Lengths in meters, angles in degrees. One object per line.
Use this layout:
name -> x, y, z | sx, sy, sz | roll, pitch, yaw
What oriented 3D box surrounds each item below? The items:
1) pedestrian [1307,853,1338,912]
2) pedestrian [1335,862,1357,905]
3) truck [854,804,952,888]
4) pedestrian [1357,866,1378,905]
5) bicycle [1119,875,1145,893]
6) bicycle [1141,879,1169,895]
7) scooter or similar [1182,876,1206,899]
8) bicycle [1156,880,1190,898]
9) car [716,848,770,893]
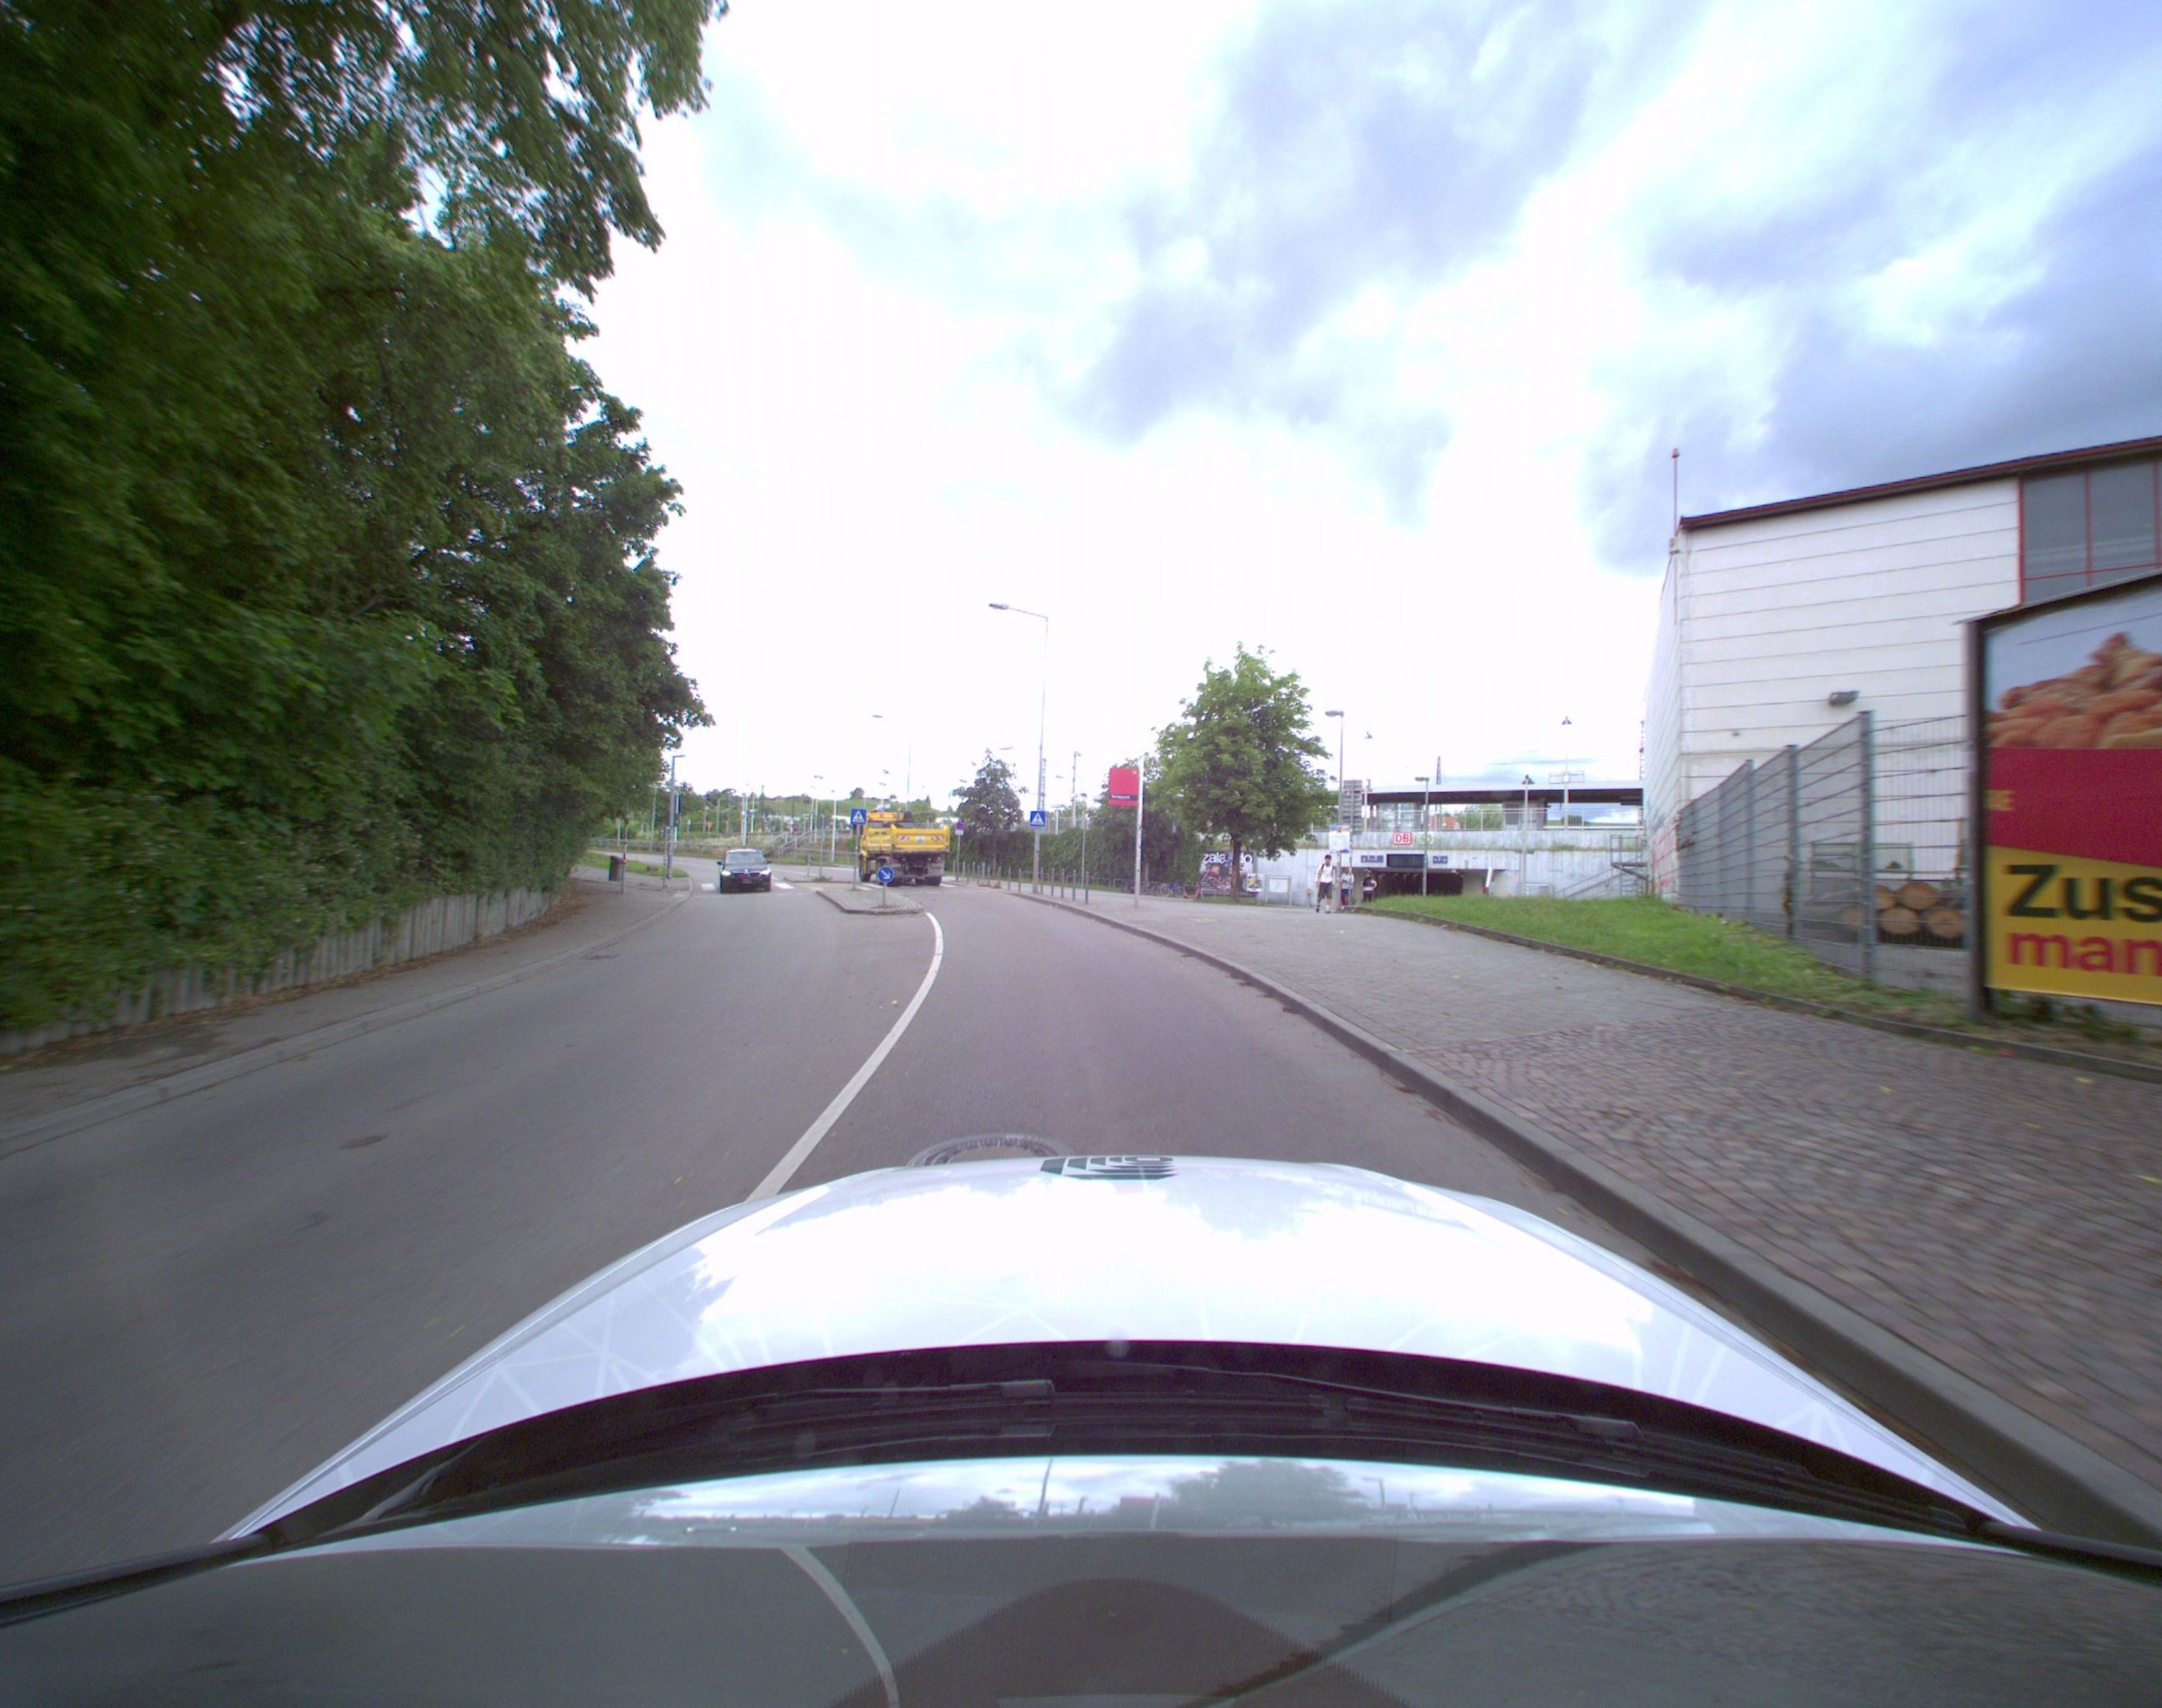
pedestrian -> 7.031, 0.831, 23.754 | 0.842, 1.684, 0.944 | 0, -3, 15
pedestrian -> 10.809, 1.198, 33.185 | 0.807, 1.703, 0.752 | 1, -3, 19
truck -> -8.621, -0.440, 38.582 | 2.778, 3.483, 8.064 | 2, 1, -25
pedestrian -> 11.911, 1.311, 33.893 | 0.793, 1.584, 0.805 | 1, -3, 19
bicycle -> 3.097, 1.824, 49.604 | 1.484, 0.989, 0.693 | 4, -1, -3
bicycle -> 4.460, 2.011, 49.223 | 1.579, 0.854, 0.461 | 5, -2, -18
scooter or similar -> 6.540, 1.937, 47.203 | 1.190, 1.206, 0.465 | 5, -2, -18
bicycle -> 5.477, 2.092, 48.377 | 1.972, 0.865, 0.507 | 6, -2, -21
car -> -13.325, 0.608, 32.253 | 1.809, 1.610, 4.146 | -1, 1, -22
